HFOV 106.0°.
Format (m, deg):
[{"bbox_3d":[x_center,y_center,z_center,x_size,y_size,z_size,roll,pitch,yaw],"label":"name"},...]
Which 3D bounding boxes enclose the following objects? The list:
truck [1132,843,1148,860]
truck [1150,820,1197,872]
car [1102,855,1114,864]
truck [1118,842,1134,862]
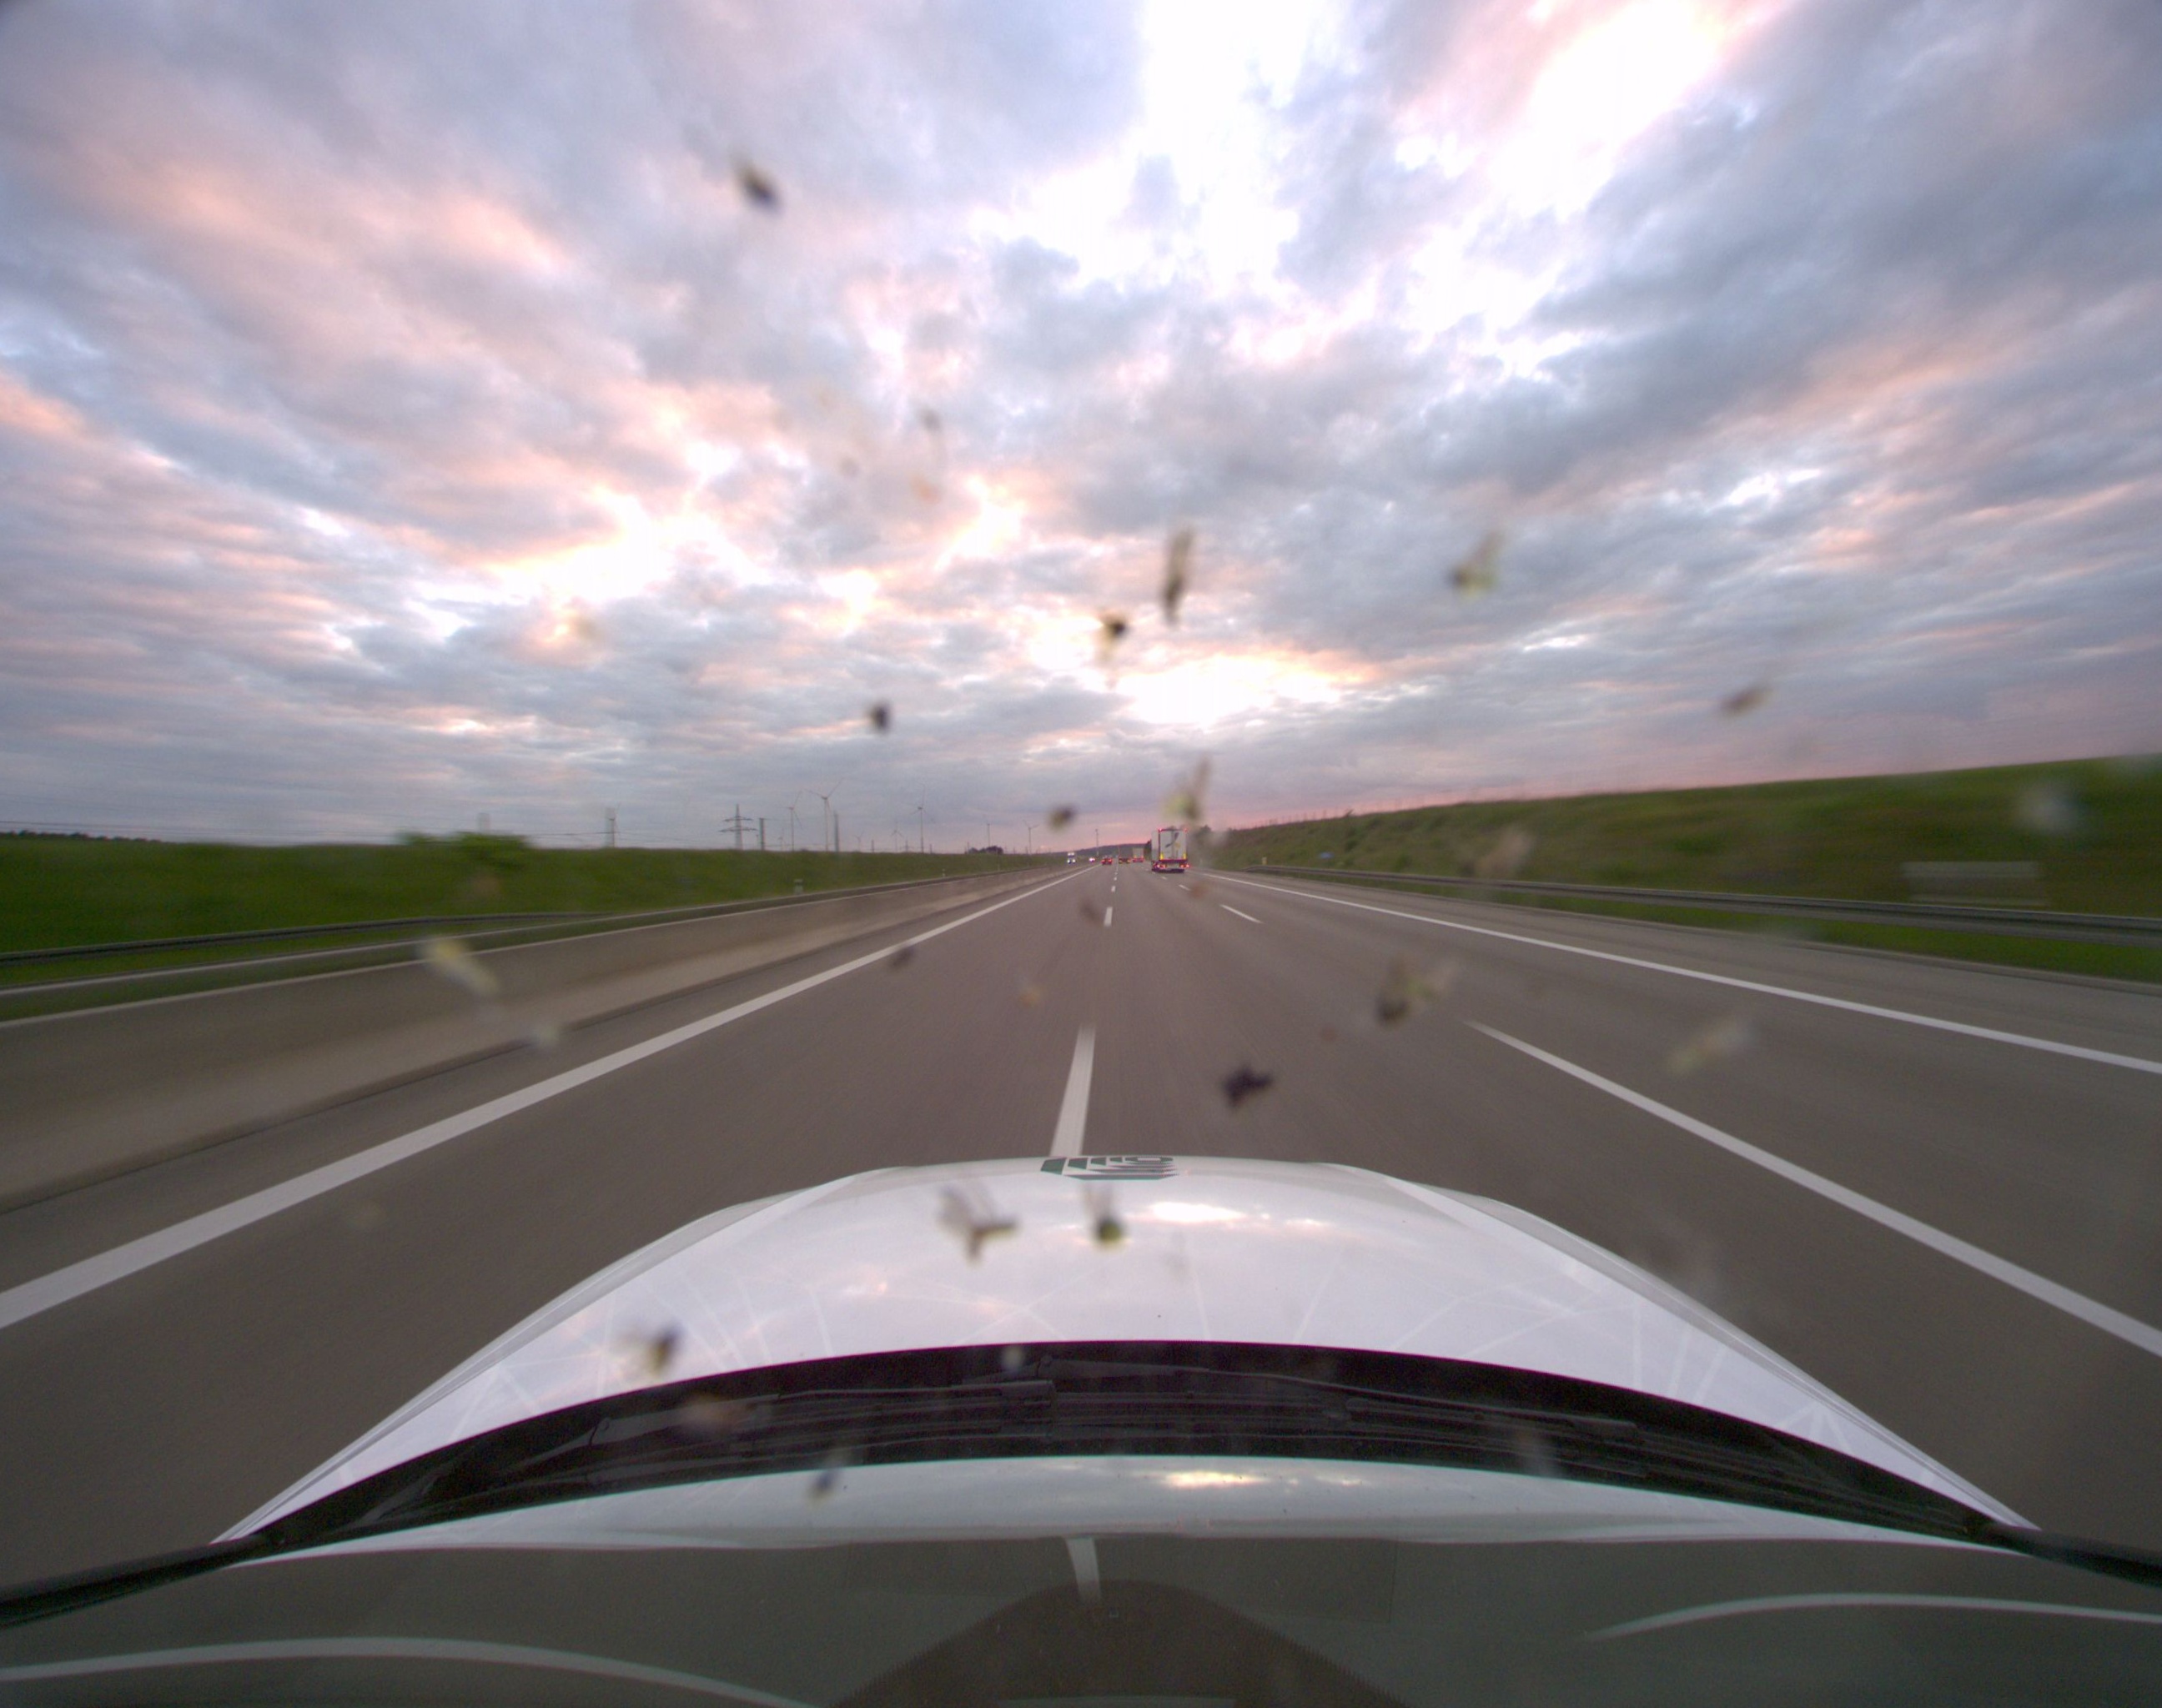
[{"bbox_3d":[15.941,-0.566,221.829,3.951,4.414,8.640,-2,0,2],"label":"truck"},{"bbox_3d":[8.721,-0.737,78.336,3.660,4.564,10.989,-2,0,3],"label":"truck"},{"bbox_3d":[4.997,1.032,151.581,1.979,1.429,4.004,-2,0,4],"label":"car"},{"bbox_3d":[10.386,-0.410,188.731,3.633,4.414,8.640,-1,0,2],"label":"truck"}]
